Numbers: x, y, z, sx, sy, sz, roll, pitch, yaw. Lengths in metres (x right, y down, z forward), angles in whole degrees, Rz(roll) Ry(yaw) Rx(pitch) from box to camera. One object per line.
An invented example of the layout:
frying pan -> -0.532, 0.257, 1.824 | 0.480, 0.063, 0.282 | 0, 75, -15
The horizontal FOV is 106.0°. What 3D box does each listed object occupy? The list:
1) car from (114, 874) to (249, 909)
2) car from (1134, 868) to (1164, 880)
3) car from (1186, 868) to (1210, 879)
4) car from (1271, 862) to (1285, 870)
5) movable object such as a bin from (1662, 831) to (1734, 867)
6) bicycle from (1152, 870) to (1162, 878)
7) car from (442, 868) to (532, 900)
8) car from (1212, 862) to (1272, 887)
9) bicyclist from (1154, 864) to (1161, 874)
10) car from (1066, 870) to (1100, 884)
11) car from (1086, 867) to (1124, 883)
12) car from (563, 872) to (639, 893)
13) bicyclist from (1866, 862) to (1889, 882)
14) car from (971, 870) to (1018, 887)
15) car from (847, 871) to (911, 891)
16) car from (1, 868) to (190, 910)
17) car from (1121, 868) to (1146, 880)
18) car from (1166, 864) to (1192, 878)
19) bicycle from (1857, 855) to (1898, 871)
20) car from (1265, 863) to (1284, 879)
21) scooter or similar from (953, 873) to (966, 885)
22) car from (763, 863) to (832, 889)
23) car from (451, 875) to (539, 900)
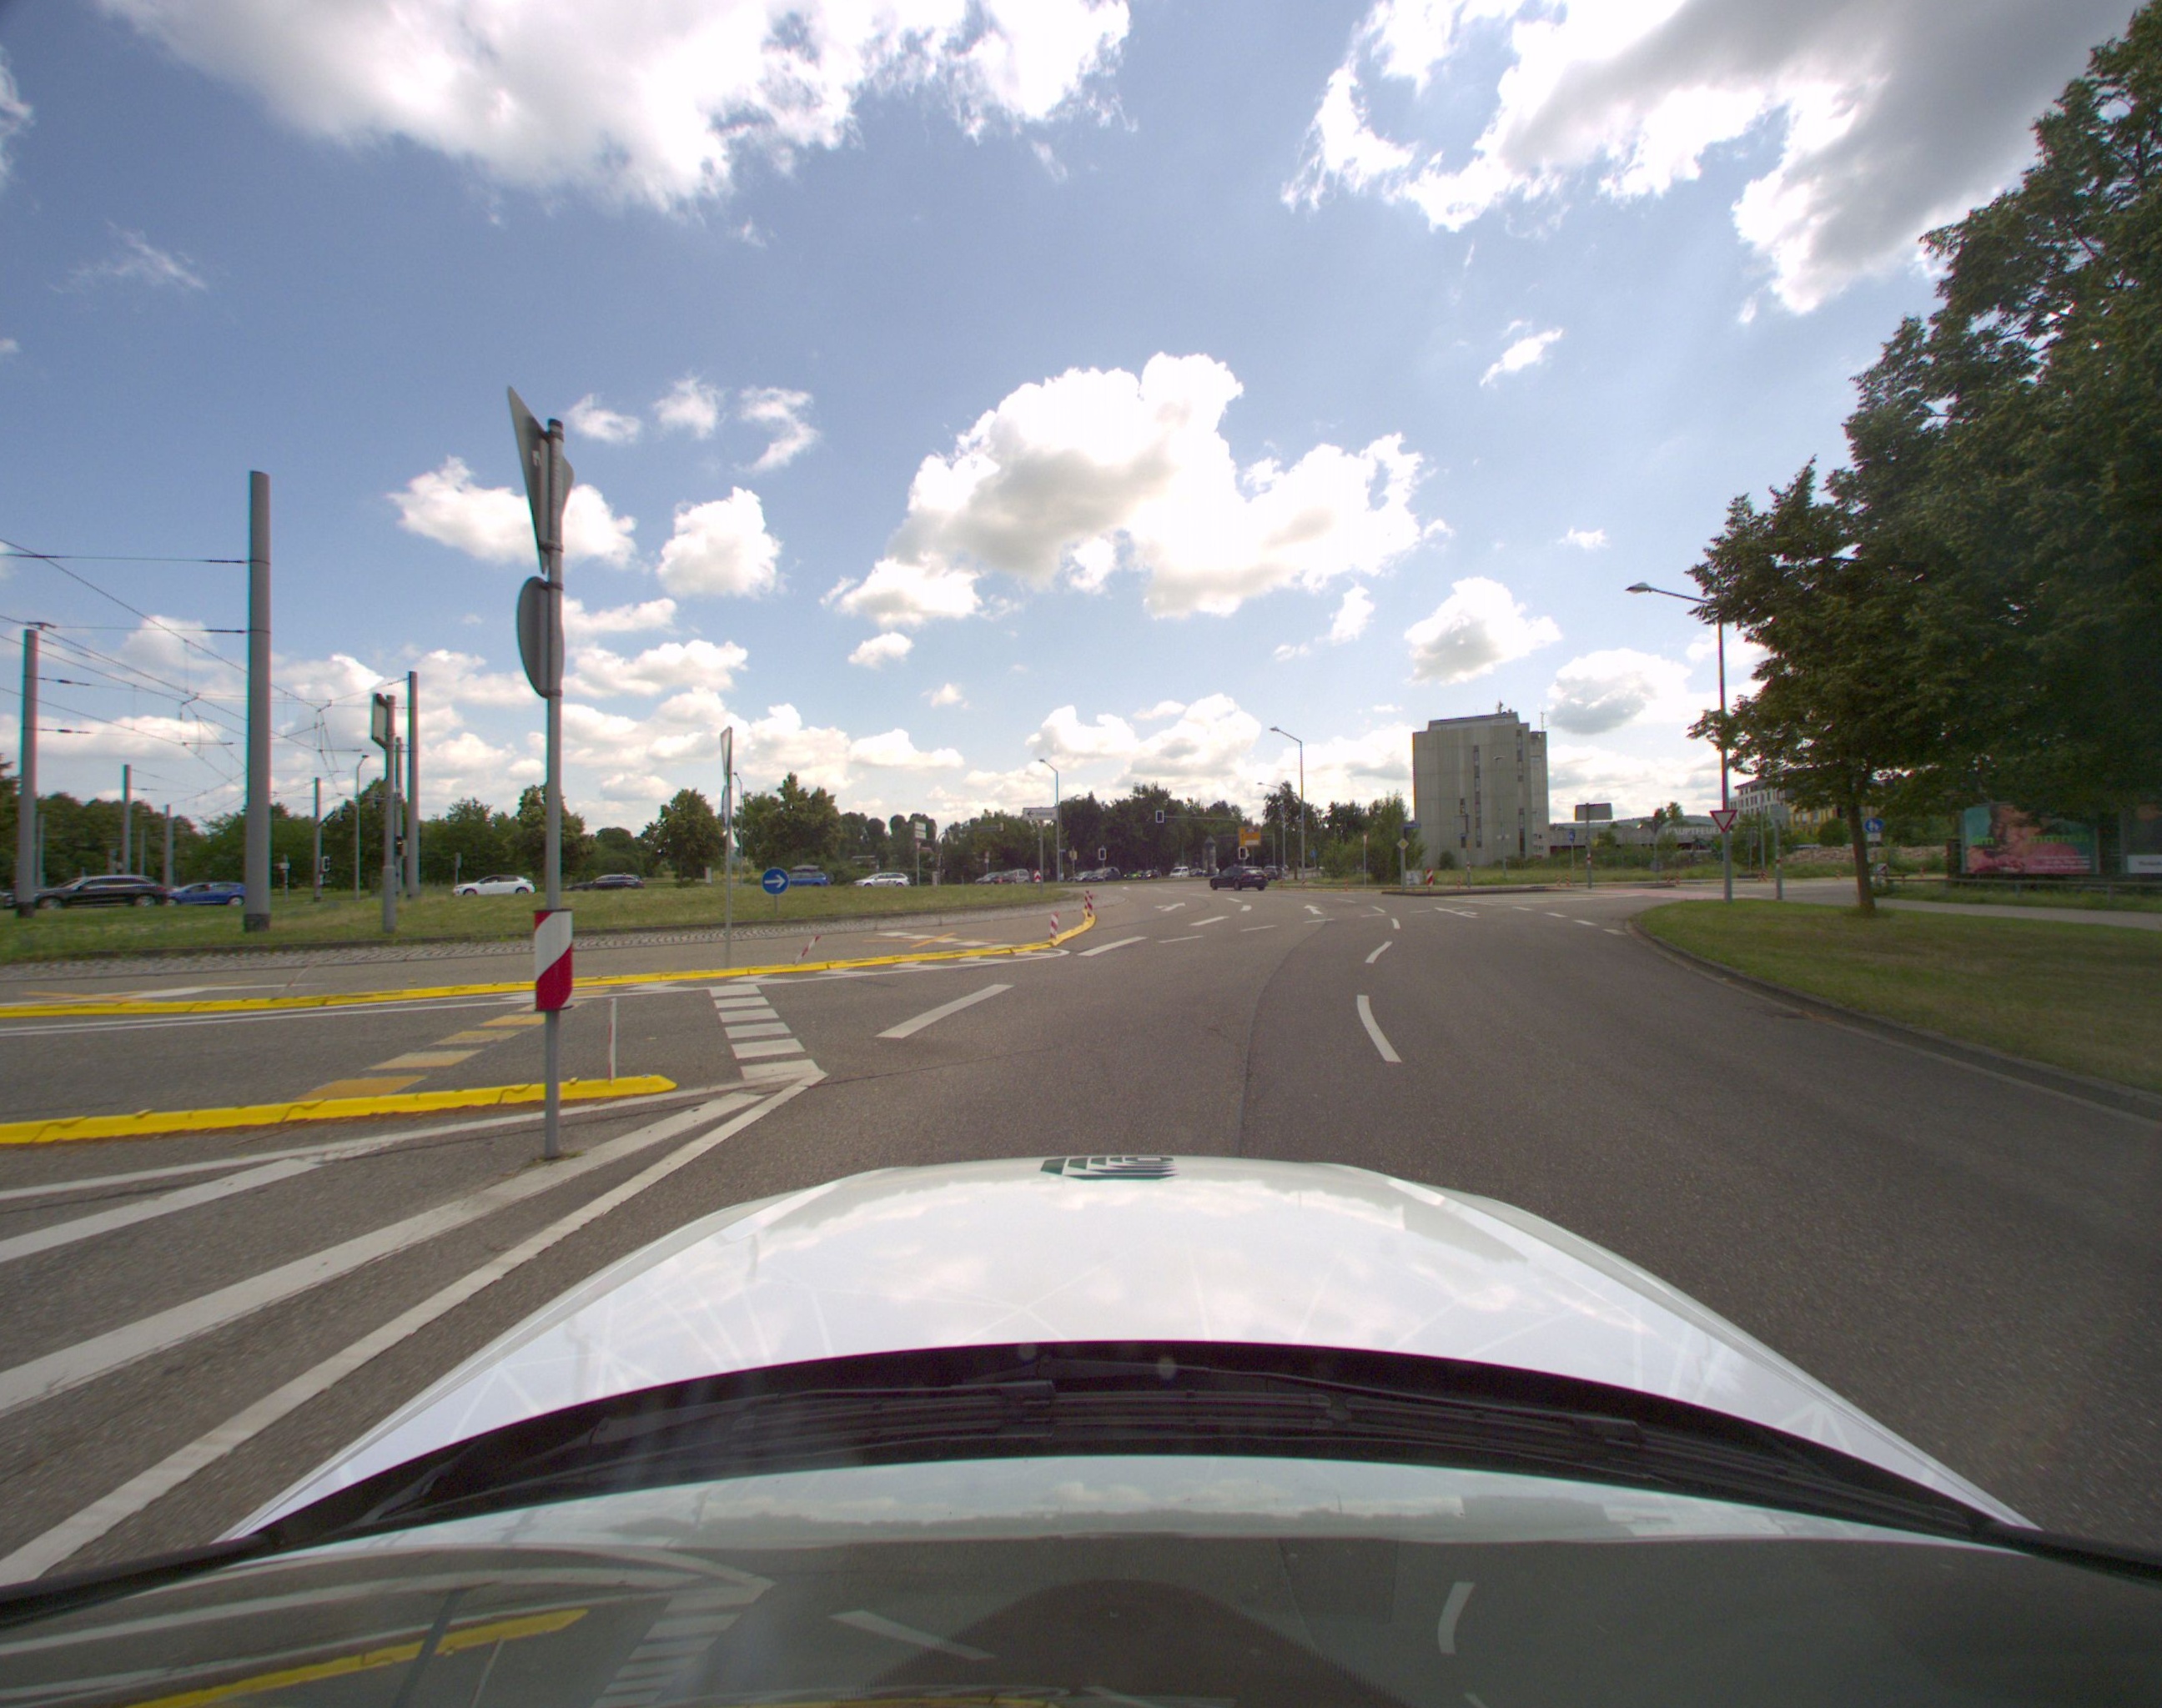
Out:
car -> -50.136, 2.045, 45.507 | 1.825, 1.791, 4.755 | -1, -1, 30
car -> 8.567, 2.531, 102.640 | 1.820, 1.311, 4.817 | -4, -2, 30
car -> 16.722, 2.819, 116.538 | 1.820, 1.480, 4.781 | -4, -2, 28
car -> 41.736, 2.513, 172.586 | 1.746, 1.577, 5.061 | -2, -1, 27
movable object such as a bin -> 71.585, -0.497, 94.462 | 7.615, 3.853, 3.029 | 2, -2, -19
bicycle -> 12.084, 3.131, 129.538 | 0.754, 1.219, 2.028 | 1, 0, 27
car -> -41.092, 2.053, 56.486 | 4.735, 2.014, 1.983 | -1, -1, -27
car -> 9.546, 1.192, 48.562 | 1.690, 1.463, 3.972 | 1, -1, -21
bicyclist -> 12.100, 2.451, 129.536 | 0.822, 1.565, 0.889 | 1, -1, 27
car -> 0.244, 2.454, 86.515 | 1.887, 1.423, 4.216 | -1, -1, 28
car -> 2.459, 2.120, 83.713 | 1.889, 1.592, 4.620 | -2, -2, 31
car -> -33.841, 2.003, 57.607 | 4.500, 1.323, 1.937 | -1, -1, -27
bicyclist -> 55.475, 1.256, 56.728 | 0.811, 1.325, 0.872 | 1, -2, -14
car -> -7.871, 2.247, 74.342 | 4.001, 1.340, 1.781 | -1, -2, -42
car -> -16.402, 2.162, 66.184 | 4.527, 1.521, 2.100 | 0, -1, -37
car -> -44.451, 1.528, 36.935 | 1.976, 1.675, 5.099 | -1, 0, 23
car -> 6.794, 2.582, 105.407 | 1.600, 1.348, 4.196 | -4, -2, 28
car -> 13.376, 2.337, 111.440 | 1.820, 1.799, 4.816 | -4, -2, 28
bicycle -> 55.665, 0.631, 56.947 | 2.539, 1.017, 0.872 | 1, -2, -15
car -> 21.915, 1.903, 92.206 | 1.979, 1.626, 4.327 | -2, 0, 15
scooter or similar -> -11.907, 2.448, 79.832 | 0.535, 1.166, 1.449 | -1, -1, 32
car -> -20.312, 1.552, 58.341 | 4.420, 1.798, 1.740 | -1, -1, -29
car -> -35.740, 2.011, 49.767 | 4.330, 1.329, 1.978 | 0, -1, -36
